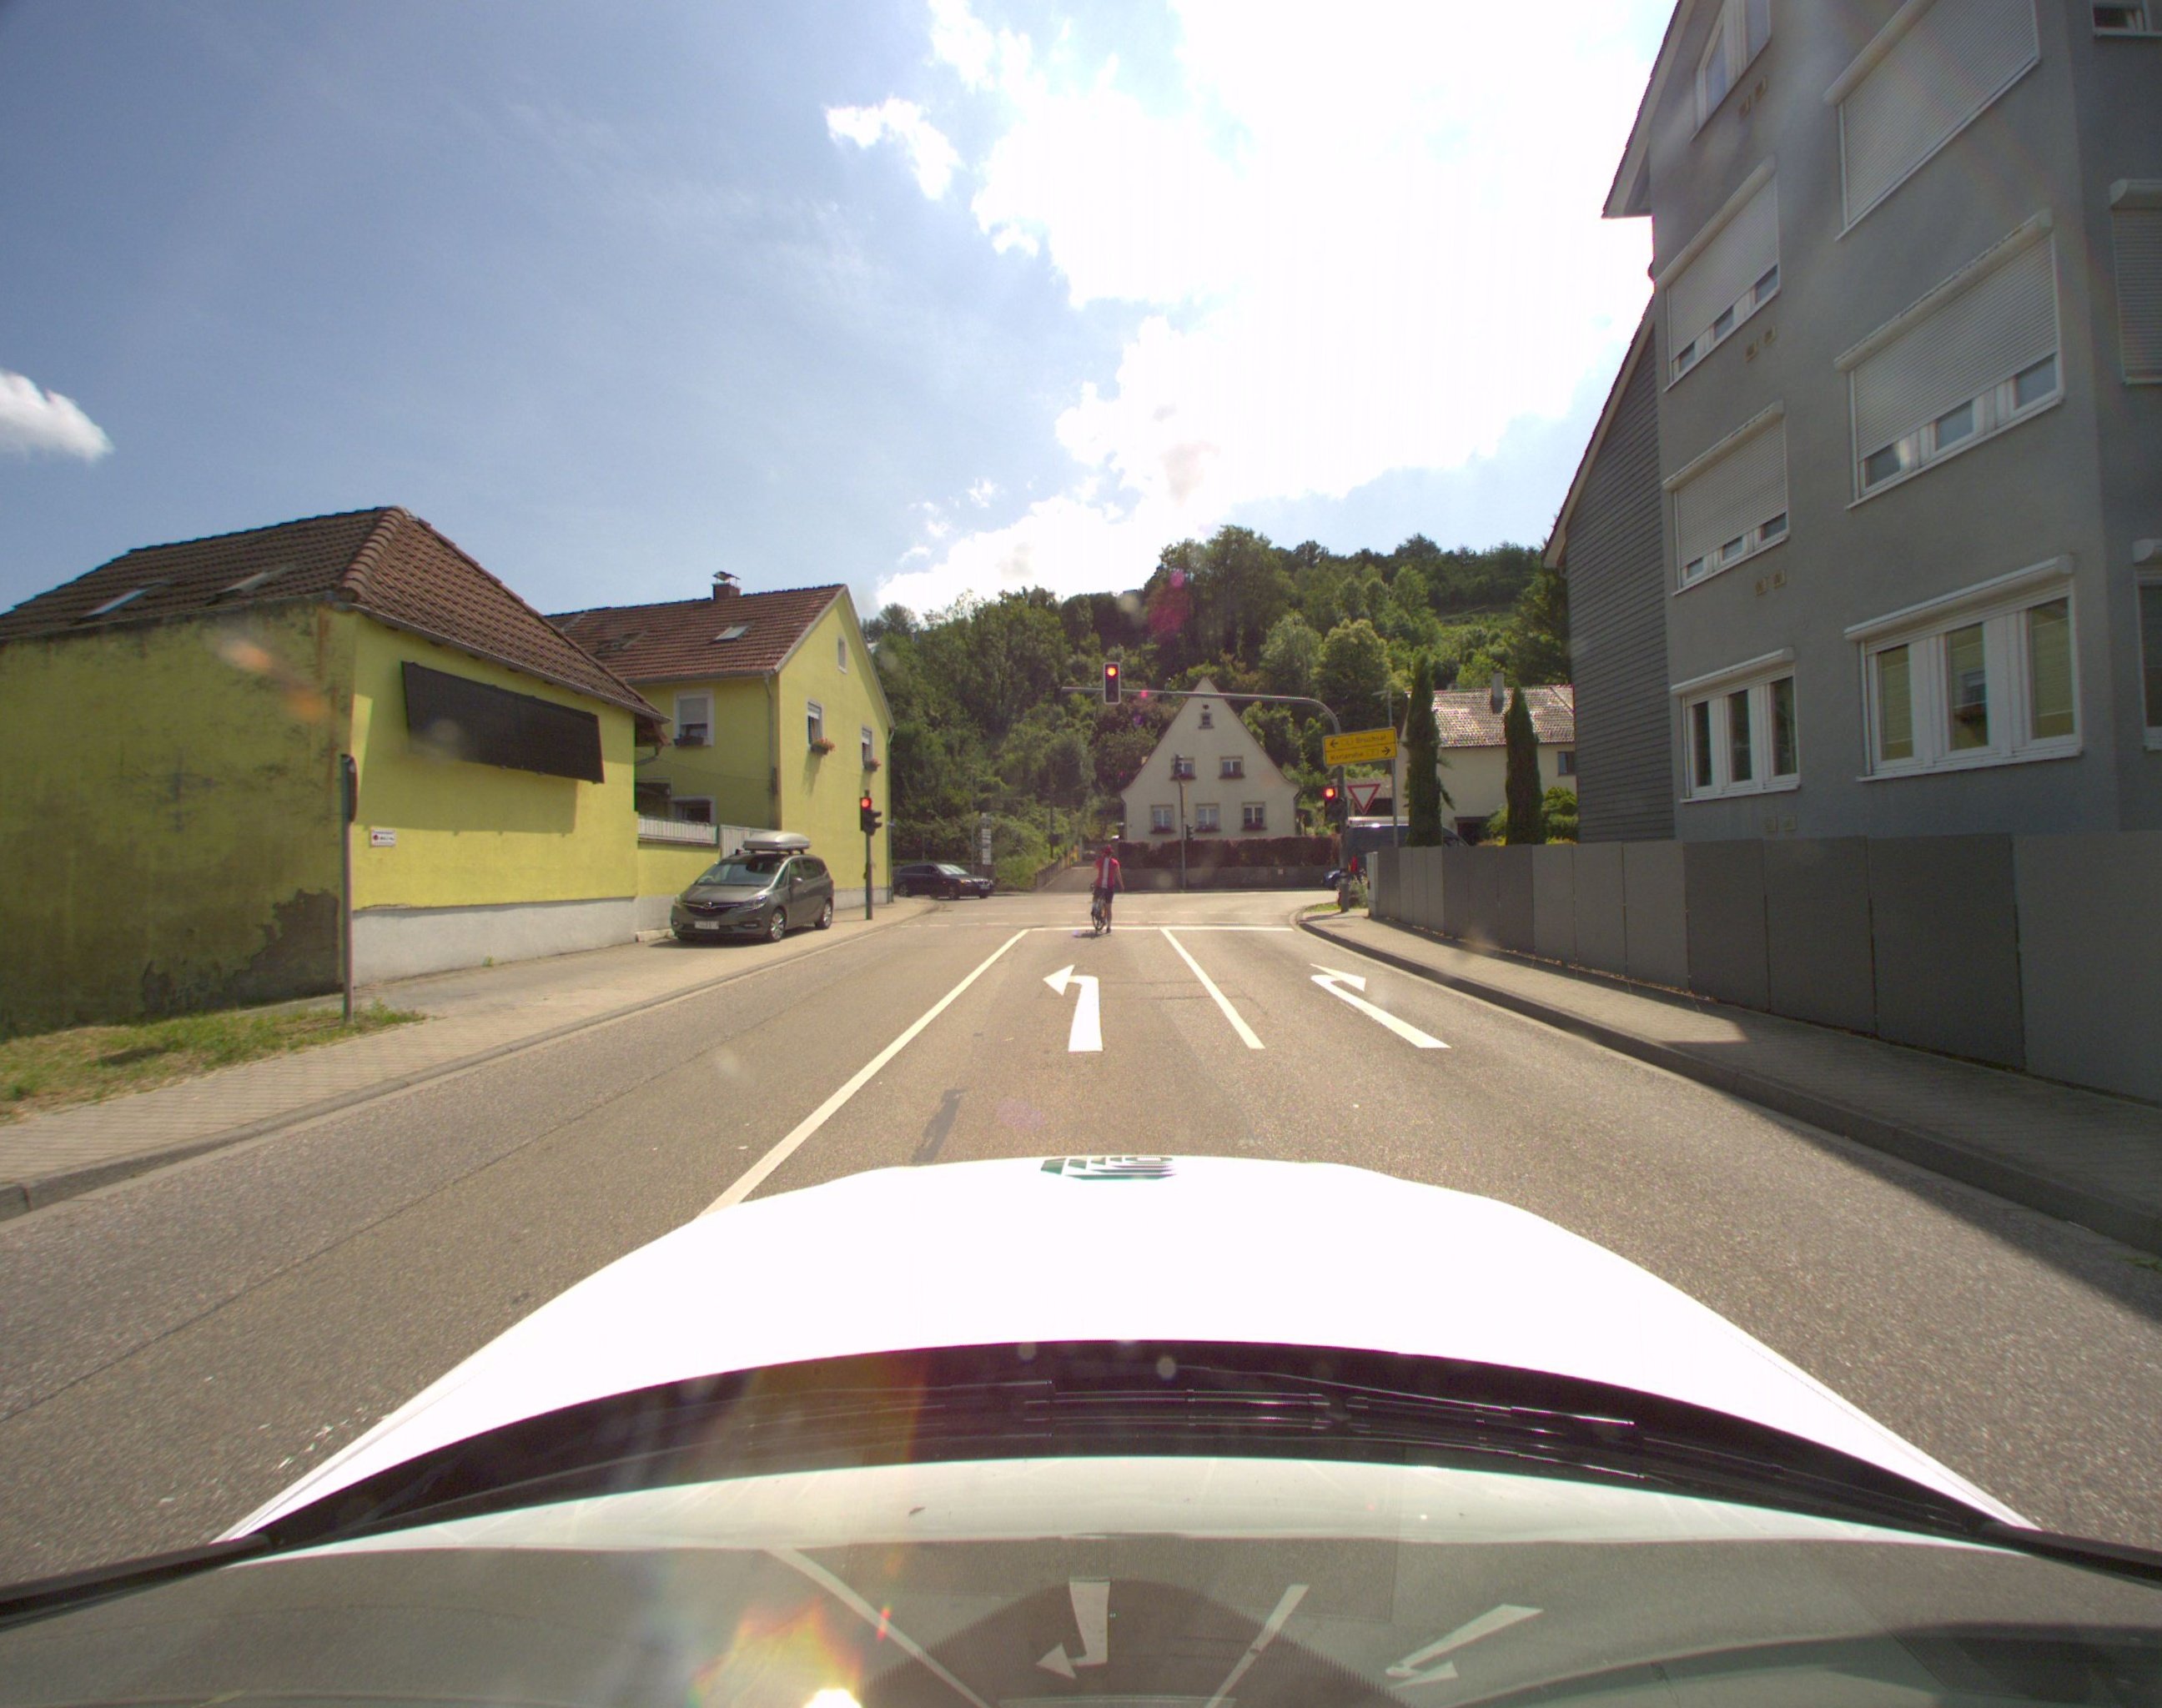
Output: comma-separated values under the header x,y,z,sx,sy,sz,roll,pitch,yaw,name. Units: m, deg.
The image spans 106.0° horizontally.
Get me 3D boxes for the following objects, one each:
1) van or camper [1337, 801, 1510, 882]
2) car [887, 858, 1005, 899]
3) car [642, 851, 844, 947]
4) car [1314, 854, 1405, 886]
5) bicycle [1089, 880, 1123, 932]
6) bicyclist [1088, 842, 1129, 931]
x,y,z,sx,sy,sz,roll,pitch,yaw,name
13.517,-0.440,32.500,5.957,3.005,2.224,-1,-1,9,van or camper
-5.463,1.000,32.739,4.610,1.442,1.882,-3,0,35,car
-6.468,0.773,16.266,1.986,1.635,4.631,0,0,1,car
12.456,0.758,36.625,3.591,1.363,1.646,0,-3,5,car
0.490,0.969,15.706,0.627,0.905,1.658,0,0,2,bicycle
0.525,0.603,15.666,0.758,1.664,0.869,0,-1,1,bicyclist
